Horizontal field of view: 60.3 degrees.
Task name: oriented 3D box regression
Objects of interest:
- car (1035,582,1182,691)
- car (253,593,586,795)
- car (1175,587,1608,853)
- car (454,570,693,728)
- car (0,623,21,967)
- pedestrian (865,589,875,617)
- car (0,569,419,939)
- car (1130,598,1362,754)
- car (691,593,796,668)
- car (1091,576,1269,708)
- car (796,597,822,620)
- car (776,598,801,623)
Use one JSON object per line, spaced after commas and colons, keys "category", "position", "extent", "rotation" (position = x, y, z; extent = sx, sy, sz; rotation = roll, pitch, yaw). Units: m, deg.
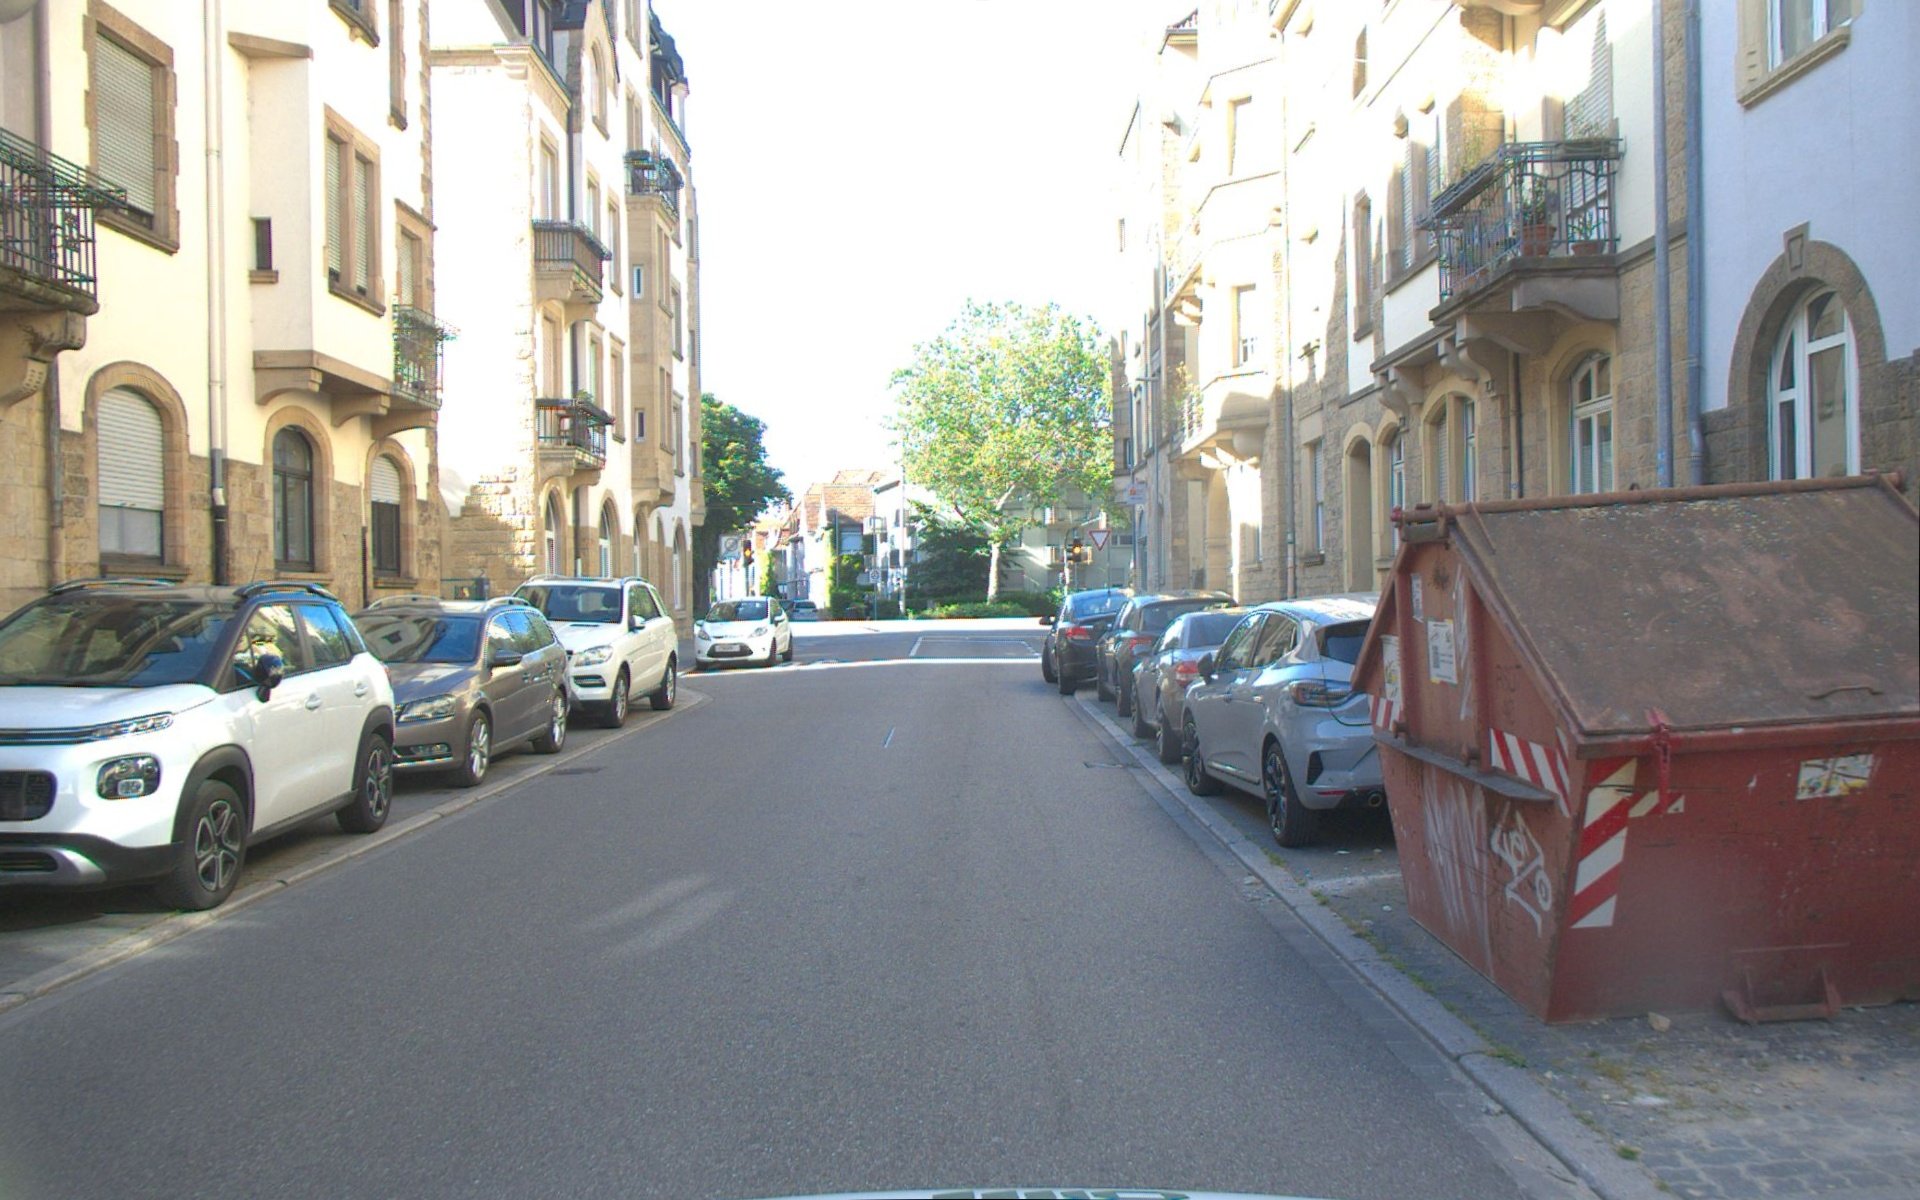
{"category": "car", "position": [2.231, 0.502, 25.913], "extent": [1.827, 1.487, 4.339], "rotation": [-2, 1, 0]}
{"category": "car", "position": [-4.640, 0.718, 14.861], "extent": [1.541, 1.513, 4.280], "rotation": [0, 1, 1]}
{"category": "car", "position": [2.691, 0.661, 11.243], "extent": [1.750, 1.454, 3.805], "rotation": [-1, 1, -3]}
{"category": "car", "position": [-4.688, 0.535, 20.790], "extent": [1.853, 1.752, 4.726], "rotation": [0, 0, 1]}
{"category": "car", "position": [-4.715, 0.800, 5.051], "extent": [1.638, 1.417, 3.665], "rotation": [2, 1, -2]}
{"category": "pedestrian", "position": [-5.688, 0.175, 104.284], "extent": [0.620, 1.780, 0.659], "rotation": [0, -1, -3]}
{"category": "car", "position": [-4.544, 0.663, 9.402], "extent": [1.680, 1.611, 4.019], "rotation": [2, 1, -2]}
{"category": "car", "position": [2.643, 0.648, 16.085], "extent": [1.658, 1.276, 3.942], "rotation": [-1, 0, 1]}
{"category": "car", "position": [-4.623, 0.615, 35.784], "extent": [1.600, 1.489, 3.736], "rotation": [-1, 0, 2]}
{"category": "car", "position": [2.700, 0.458, 21.189], "extent": [1.617, 1.467, 4.258], "rotation": [-2, 1, -1]}
{"category": "car", "position": [-10.125, 0.546, 111.083], "extent": [1.641, 1.508, 3.519], "rotation": [0, 0, -4]}
{"category": "car", "position": [-14.402, 0.851, 138.740], "extent": [1.956, 2.049, 3.993], "rotation": [-2, 1, -8]}
